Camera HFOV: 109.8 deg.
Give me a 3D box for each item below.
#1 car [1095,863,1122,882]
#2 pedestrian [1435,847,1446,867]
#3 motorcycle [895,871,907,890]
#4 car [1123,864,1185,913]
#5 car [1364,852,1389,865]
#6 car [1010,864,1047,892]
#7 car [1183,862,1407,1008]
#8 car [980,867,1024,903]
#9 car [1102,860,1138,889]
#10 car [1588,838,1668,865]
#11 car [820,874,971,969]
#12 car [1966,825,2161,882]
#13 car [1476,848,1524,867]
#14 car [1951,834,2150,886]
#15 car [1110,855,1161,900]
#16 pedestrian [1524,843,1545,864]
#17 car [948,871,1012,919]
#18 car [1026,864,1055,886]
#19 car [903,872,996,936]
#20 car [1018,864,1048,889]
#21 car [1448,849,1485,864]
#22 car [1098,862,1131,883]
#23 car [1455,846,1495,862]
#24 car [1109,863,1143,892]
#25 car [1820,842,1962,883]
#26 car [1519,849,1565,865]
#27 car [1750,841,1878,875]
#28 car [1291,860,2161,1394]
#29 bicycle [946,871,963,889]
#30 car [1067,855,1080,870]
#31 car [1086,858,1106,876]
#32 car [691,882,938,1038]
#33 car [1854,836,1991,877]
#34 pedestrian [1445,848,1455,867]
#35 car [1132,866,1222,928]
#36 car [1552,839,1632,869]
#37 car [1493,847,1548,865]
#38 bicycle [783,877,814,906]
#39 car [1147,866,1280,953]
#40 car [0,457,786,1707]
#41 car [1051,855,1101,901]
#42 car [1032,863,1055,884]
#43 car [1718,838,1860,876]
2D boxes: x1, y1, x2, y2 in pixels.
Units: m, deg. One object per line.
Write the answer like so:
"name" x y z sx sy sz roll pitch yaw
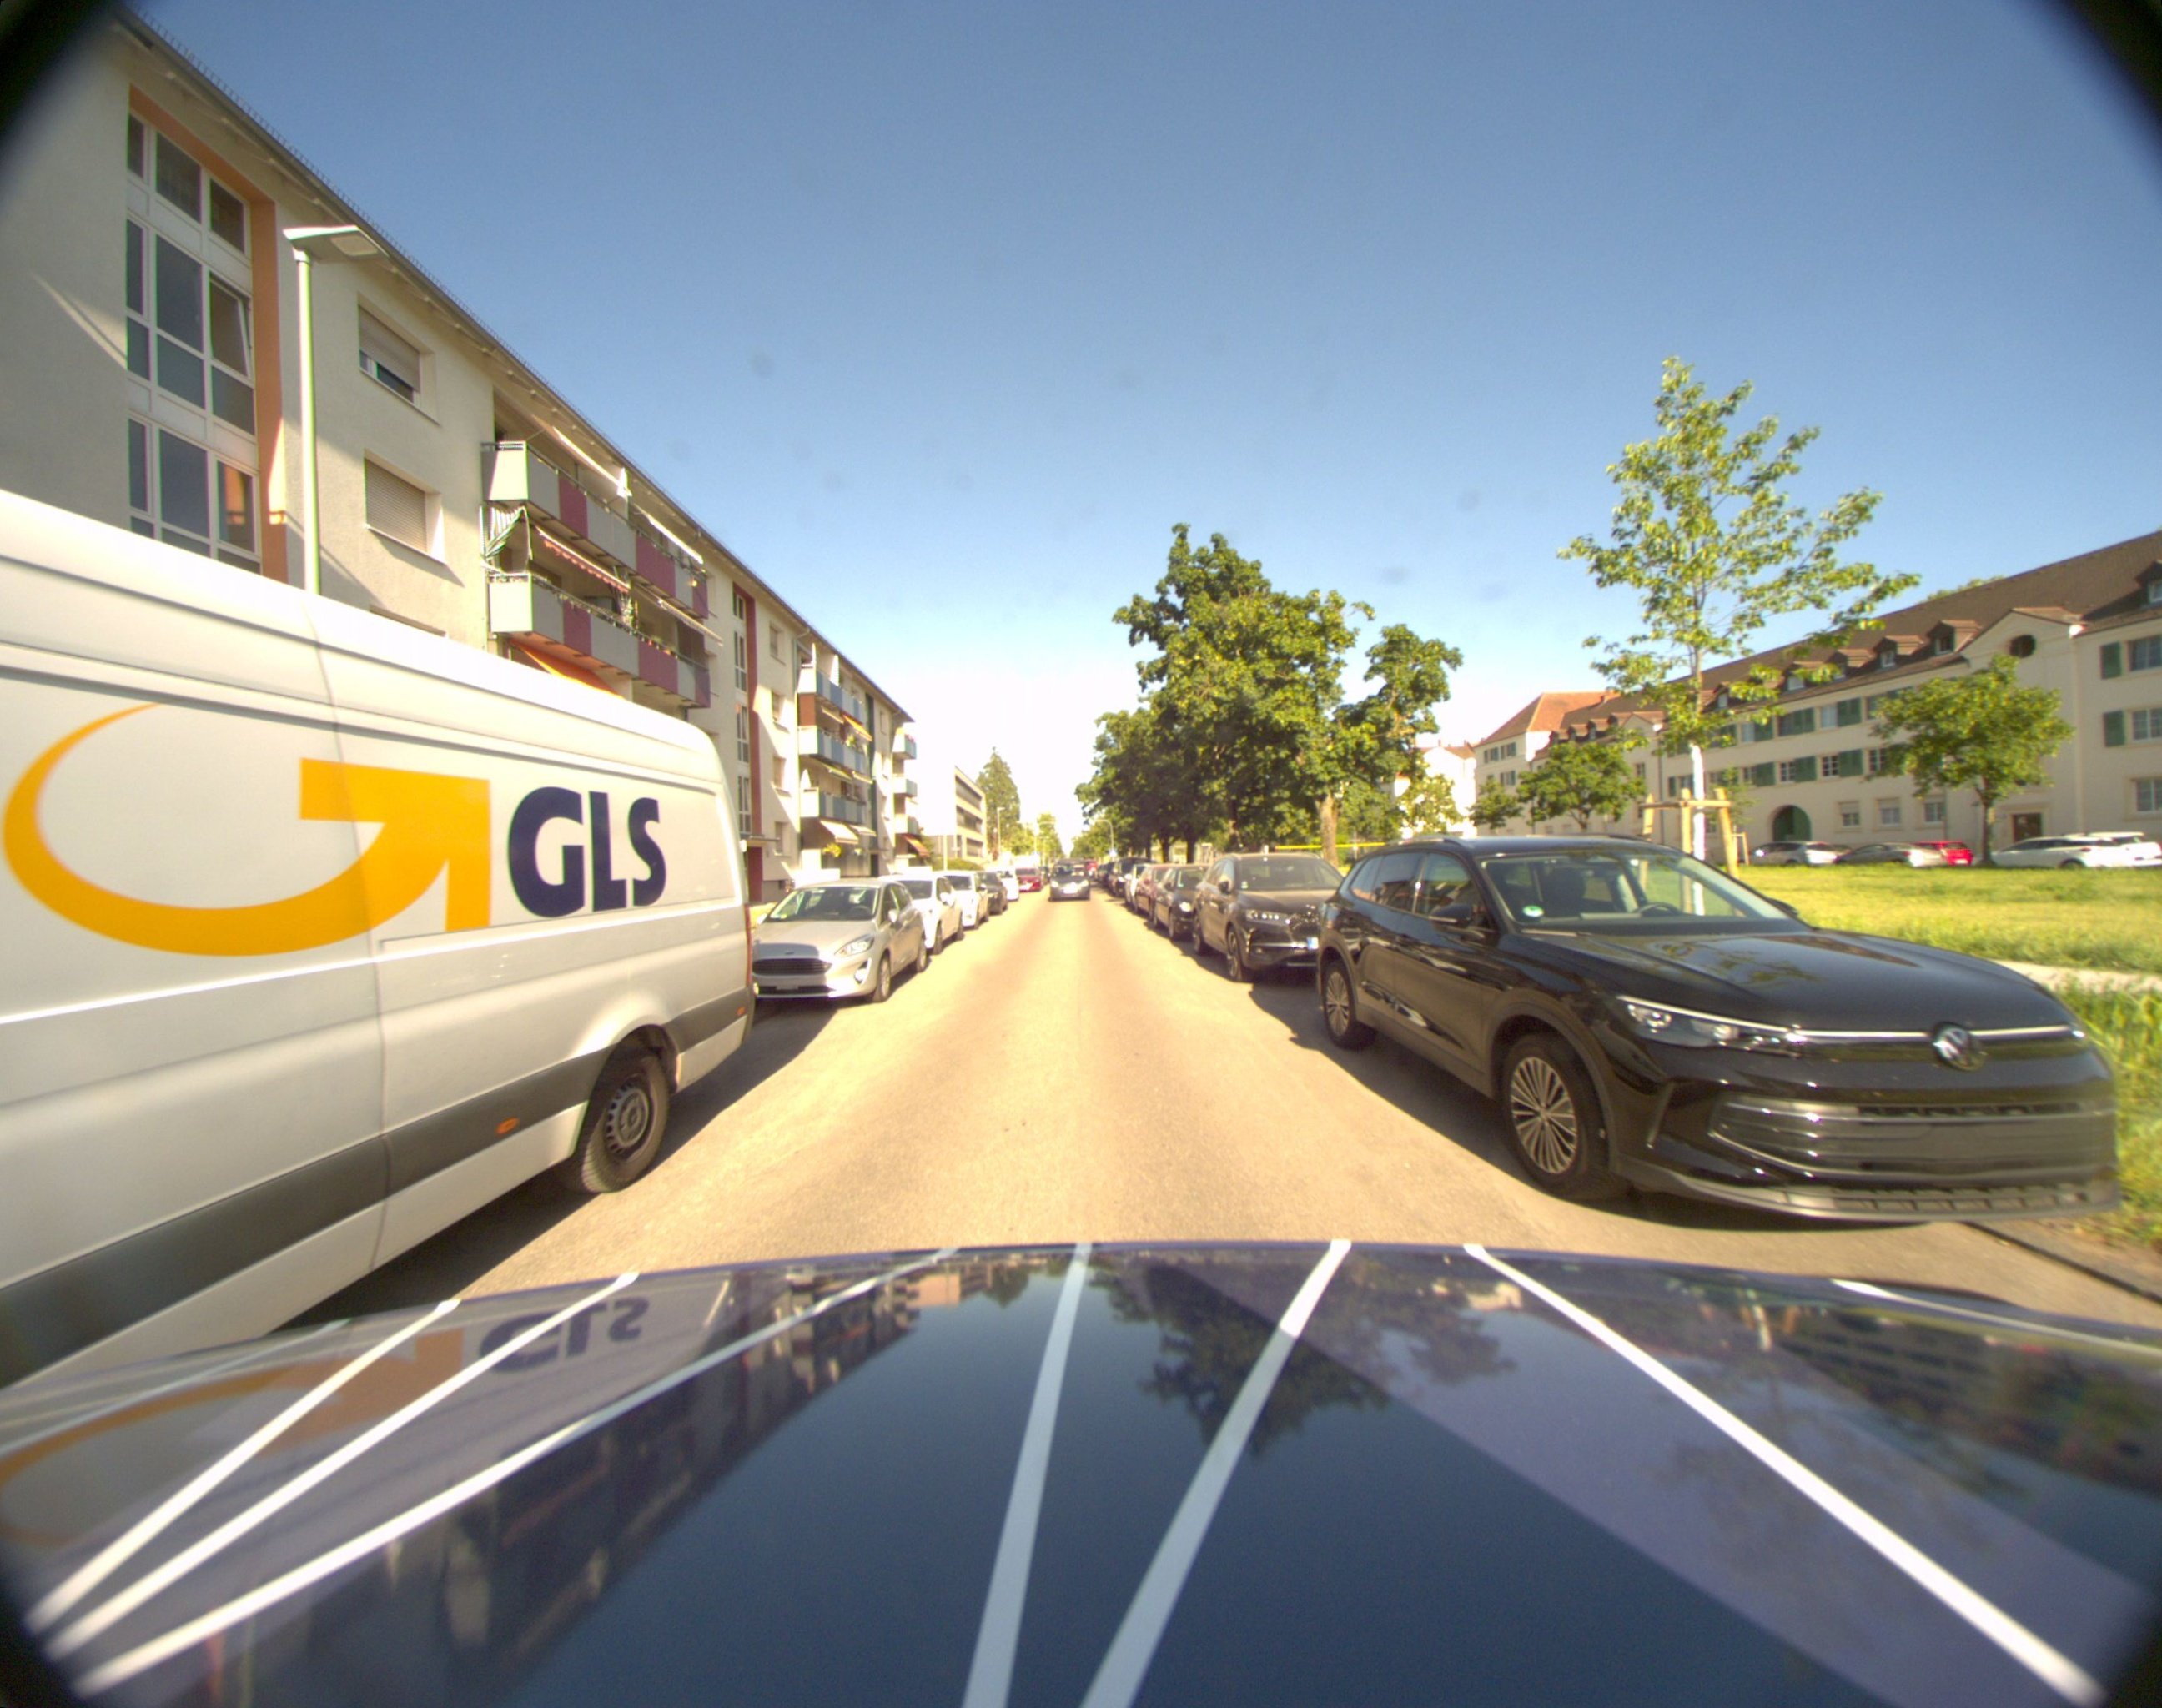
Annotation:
"car" 2.253 1.522 63.007 1.840 1.443 4.967 -2 0 -2
"pedestrian" 31.234 0.275 65.955 0.545 1.675 0.750 -2 0 1
"motorcycle" -11.497 1.693 48.487 0.584 1.144 2.036 -2 0 -9
"car" 2.375 1.102 25.441 1.591 1.484 3.685 0 0 -2
"car" 41.687 0.612 107.205 1.955 1.783 4.000 -2 0 1
"car" -3.072 1.370 45.309 1.848 1.464 5.065 -2 0 -1
"car" 2.695 0.921 10.799 1.824 1.600 4.739 0 0 0
"car" -3.496 1.351 34.240 1.753 1.490 3.860 -1 0 -4
"car" 2.326 1.209 46.604 2.031 1.616 4.757 -1 0 1
"car" 42.492 -0.162 59.253 2.226 1.972 5.257 -2 0 -3
"car" -3.423 1.183 14.851 1.882 1.466 4.140 -2 0 0
"car" 43.147 -0.008 33.272 2.537 2.203 5.257 -2 0 -2
"car" 36.758 0.316 66.747 1.793 1.574 4.235 -2 0 -1
"car" 37.473 0.235 29.582 2.242 1.809 4.257 -2 0 -3
"car" 2.382 0.988 34.248 1.869 1.774 4.991 -2 0 0
"pedestrian" 44.649 -0.030 74.803 1.343 1.952 1.163 -2 0 -6
"car" -3.317 1.315 25.659 1.704 1.427 4.471 0 0 -2
"car" -2.914 1.508 56.115 1.774 1.520 4.558 -2 0 1
"car" -3.378 1.235 20.228 1.725 1.427 4.152 -2 0 0
"car" -3.217 1.482 50.914 1.878 1.524 4.492 -2 0 -4
"car" 36.512 0.256 72.092 1.654 1.325 3.514 -2 0 -1
"car" 2.487 1.380 57.408 1.999 1.507 5.157 -1 -1 -3
"car" 49.220 0.003 94.986 3.813 1.944 2.043 -2 0 1
"car" 2.330 1.197 40.336 1.542 1.420 4.087 -2 0 0
"car" 37.403 0.394 35.266 2.323 1.740 4.009 -2 0 1
"car" 42.286 0.301 69.788 1.773 1.348 4.000 -2 0 -1
"car" 42.897 0.228 44.703 2.456 1.809 5.258 -2 0 1
"car" 2.890 0.865 4.712 1.847 1.629 4.715 0 0 0
"bicycle" -8.099 1.660 48.649 0.721 1.071 1.897 -2 0 1
"car" -1.325 1.546 134.814 2.074 2.583 6.203 -2 0 1
"car" 1.693 1.431 85.793 2.021 1.867 4.741 -2 0 3
"car" -3.222 1.197 10.167 1.854 1.457 4.201 -3 -1 -2
"car" 42.925 0.132 38.920 2.269 1.893 4.166 -2 0 -2
"pedestrian" 31.978 0.294 65.861 0.544 1.675 0.674 -2 0 4
"car" 2.506 1.089 20.998 1.760 1.483 4.667 0 0 -2
"car" 37.185 0.032 55.478 2.226 1.972 5.258 -2 0 -1
"car" 39.407 0.176 68.241 1.999 1.476 4.958 -1 0 -1
"bicycle" -11.439 1.496 30.799 0.524 1.064 2.009 0 0 -1
"car" 2.568 1.029 15.828 1.878 1.510 4.470 0 0 -1
"car" -3.317 0.530 2.195 2.148 2.697 6.842 0 0 1
"car" -0.227 0.998 32.376 1.903 1.779 4.157 -2 -1 -1
"car" -2.999 1.560 61.594 1.663 1.465 3.793 -4 0 0
"car" 37.343 0.172 40.324 2.456 1.809 5.454 -2 0 1
